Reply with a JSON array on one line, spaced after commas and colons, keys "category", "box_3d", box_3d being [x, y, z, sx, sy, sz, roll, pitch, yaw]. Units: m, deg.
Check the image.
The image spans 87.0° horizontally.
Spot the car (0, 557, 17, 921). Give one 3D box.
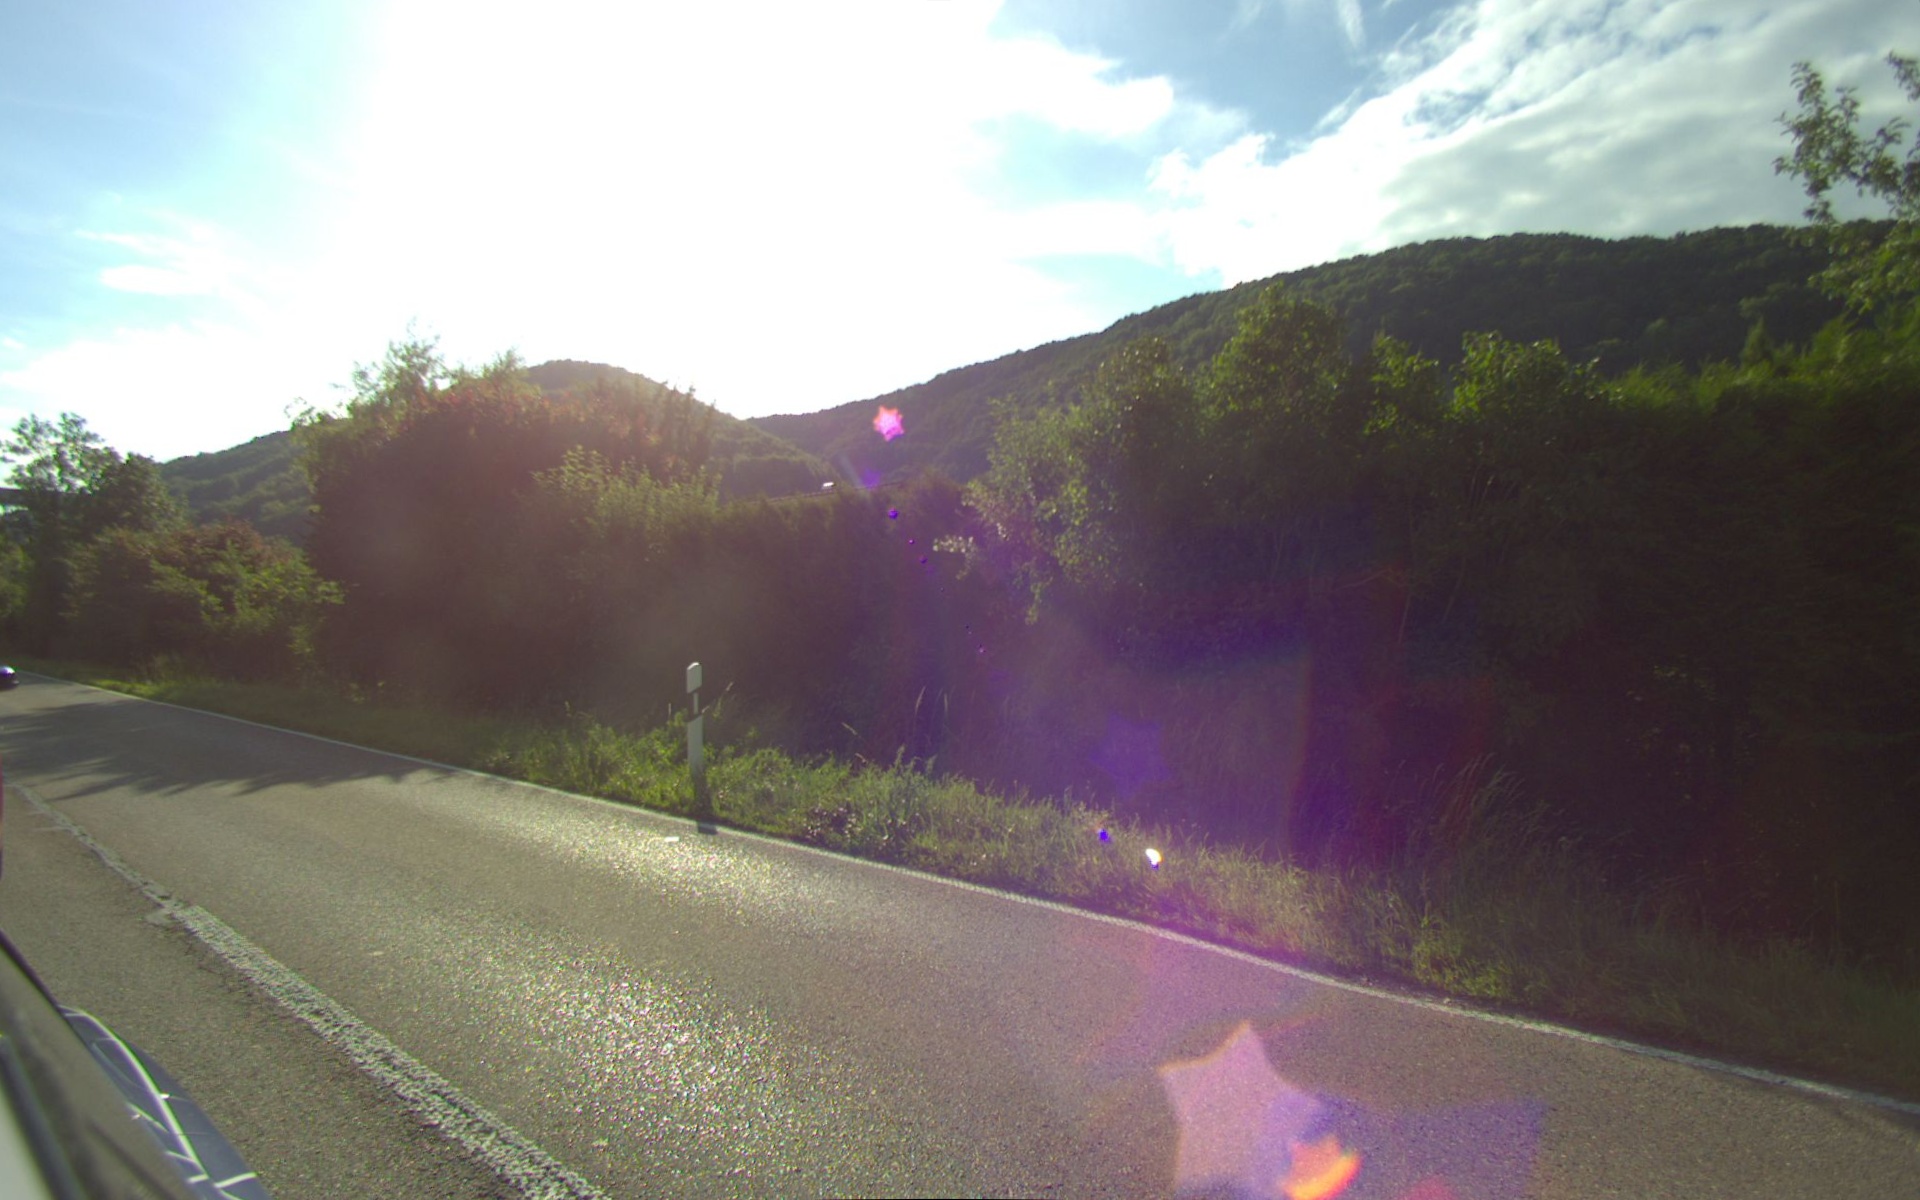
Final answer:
[{"category": "car", "box_3d": [-6.702, 0.663, 5.573, 4.286, 1.823, 1.731, -1, 1, 41]}]
